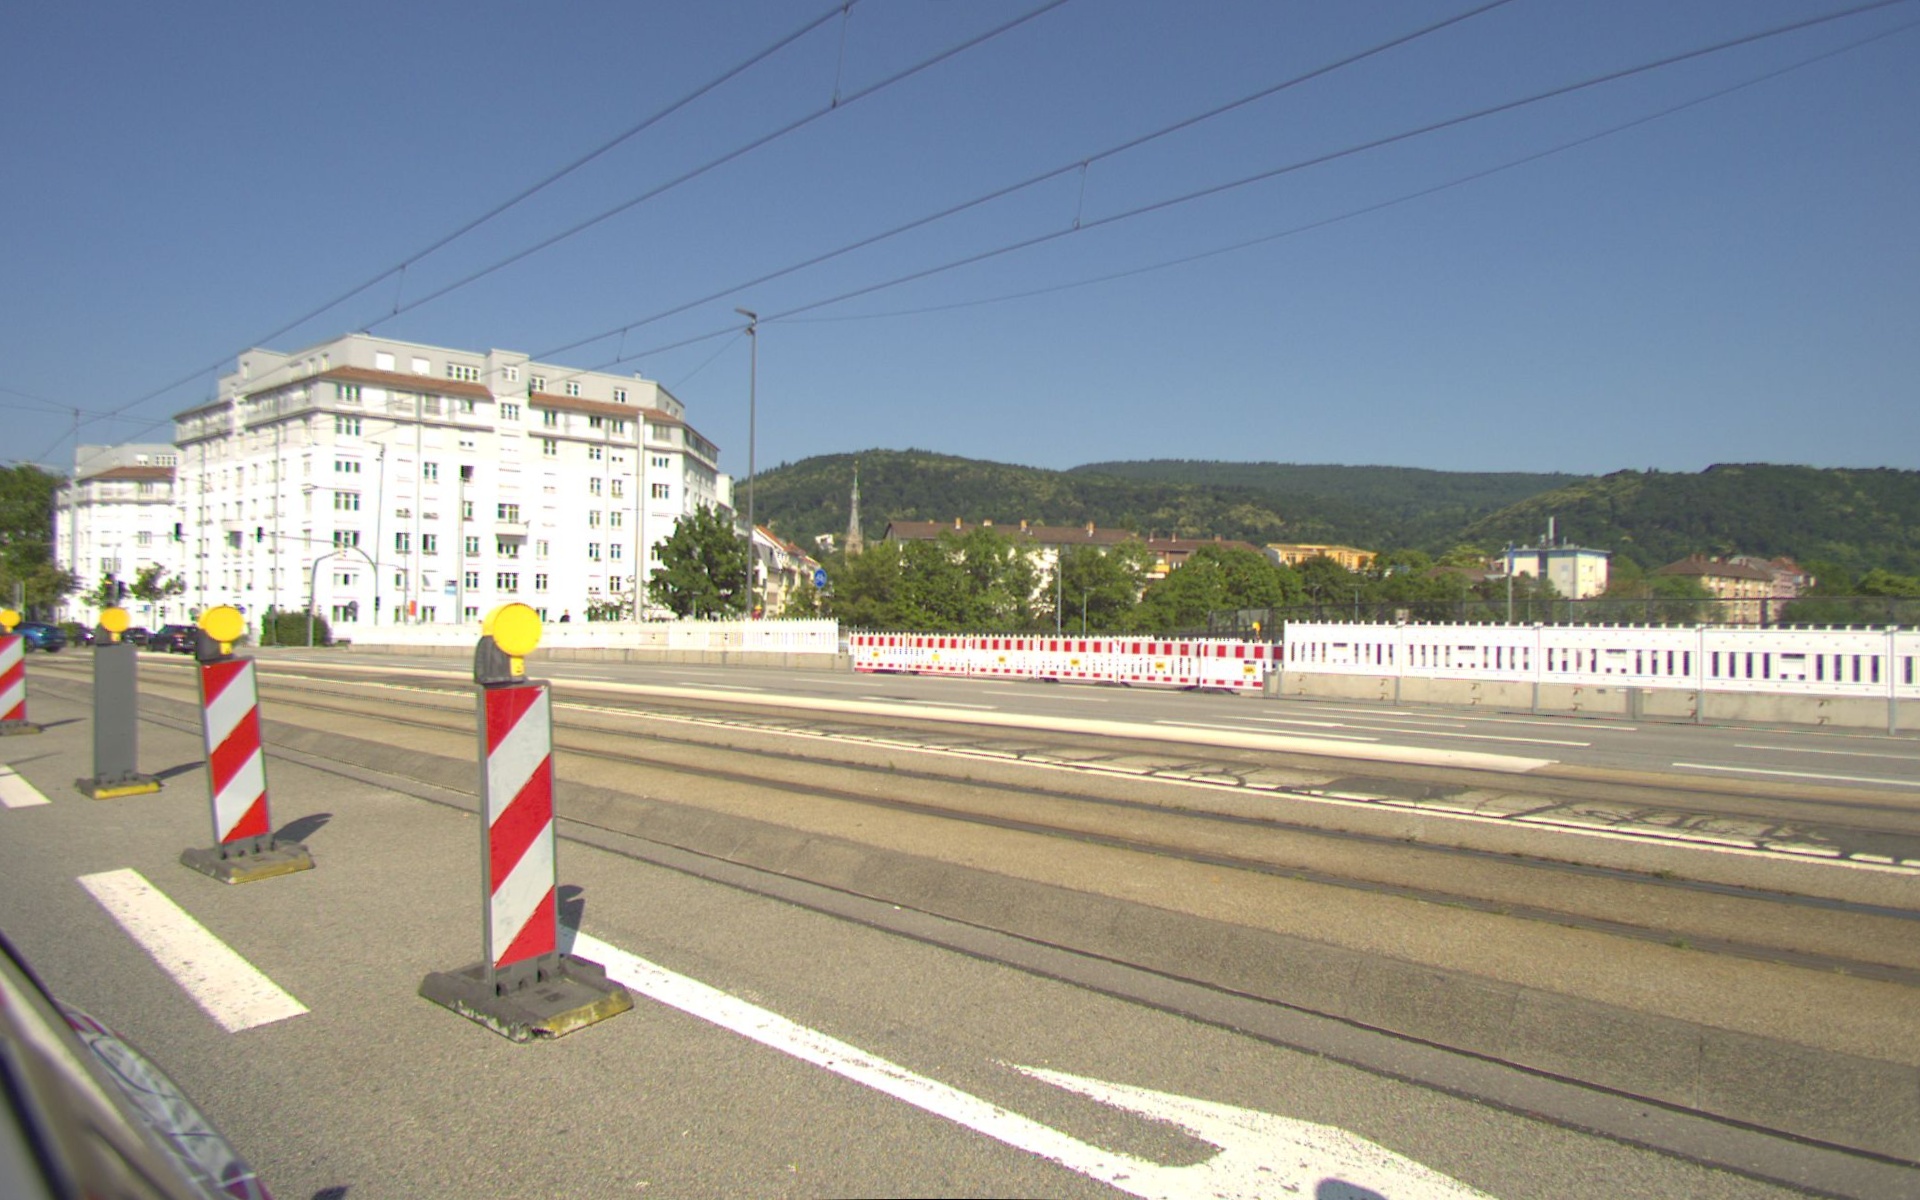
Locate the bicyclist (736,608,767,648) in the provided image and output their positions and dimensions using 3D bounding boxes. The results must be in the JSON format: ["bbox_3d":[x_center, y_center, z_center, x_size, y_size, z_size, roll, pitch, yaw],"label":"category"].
[{"bbox_3d":[-8.164,1.075,39.669,0.817,1.530,0.847,-1,0,40],"label":"bicyclist"}]

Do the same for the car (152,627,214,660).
[{"bbox_3d":[-38.131,2.091,49.648,4.000,1.497,1.777,-1,-1,43],"label":"car"}]

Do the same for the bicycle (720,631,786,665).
[{"bbox_3d":[-8.132,1.846,39.658,3.070,1.204,0.847,0,0,41],"label":"bicycle"}]

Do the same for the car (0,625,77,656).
[{"bbox_3d":[-48.751,2.097,52.639,3.948,1.497,2.038,-2,-1,4],"label":"car"}]
